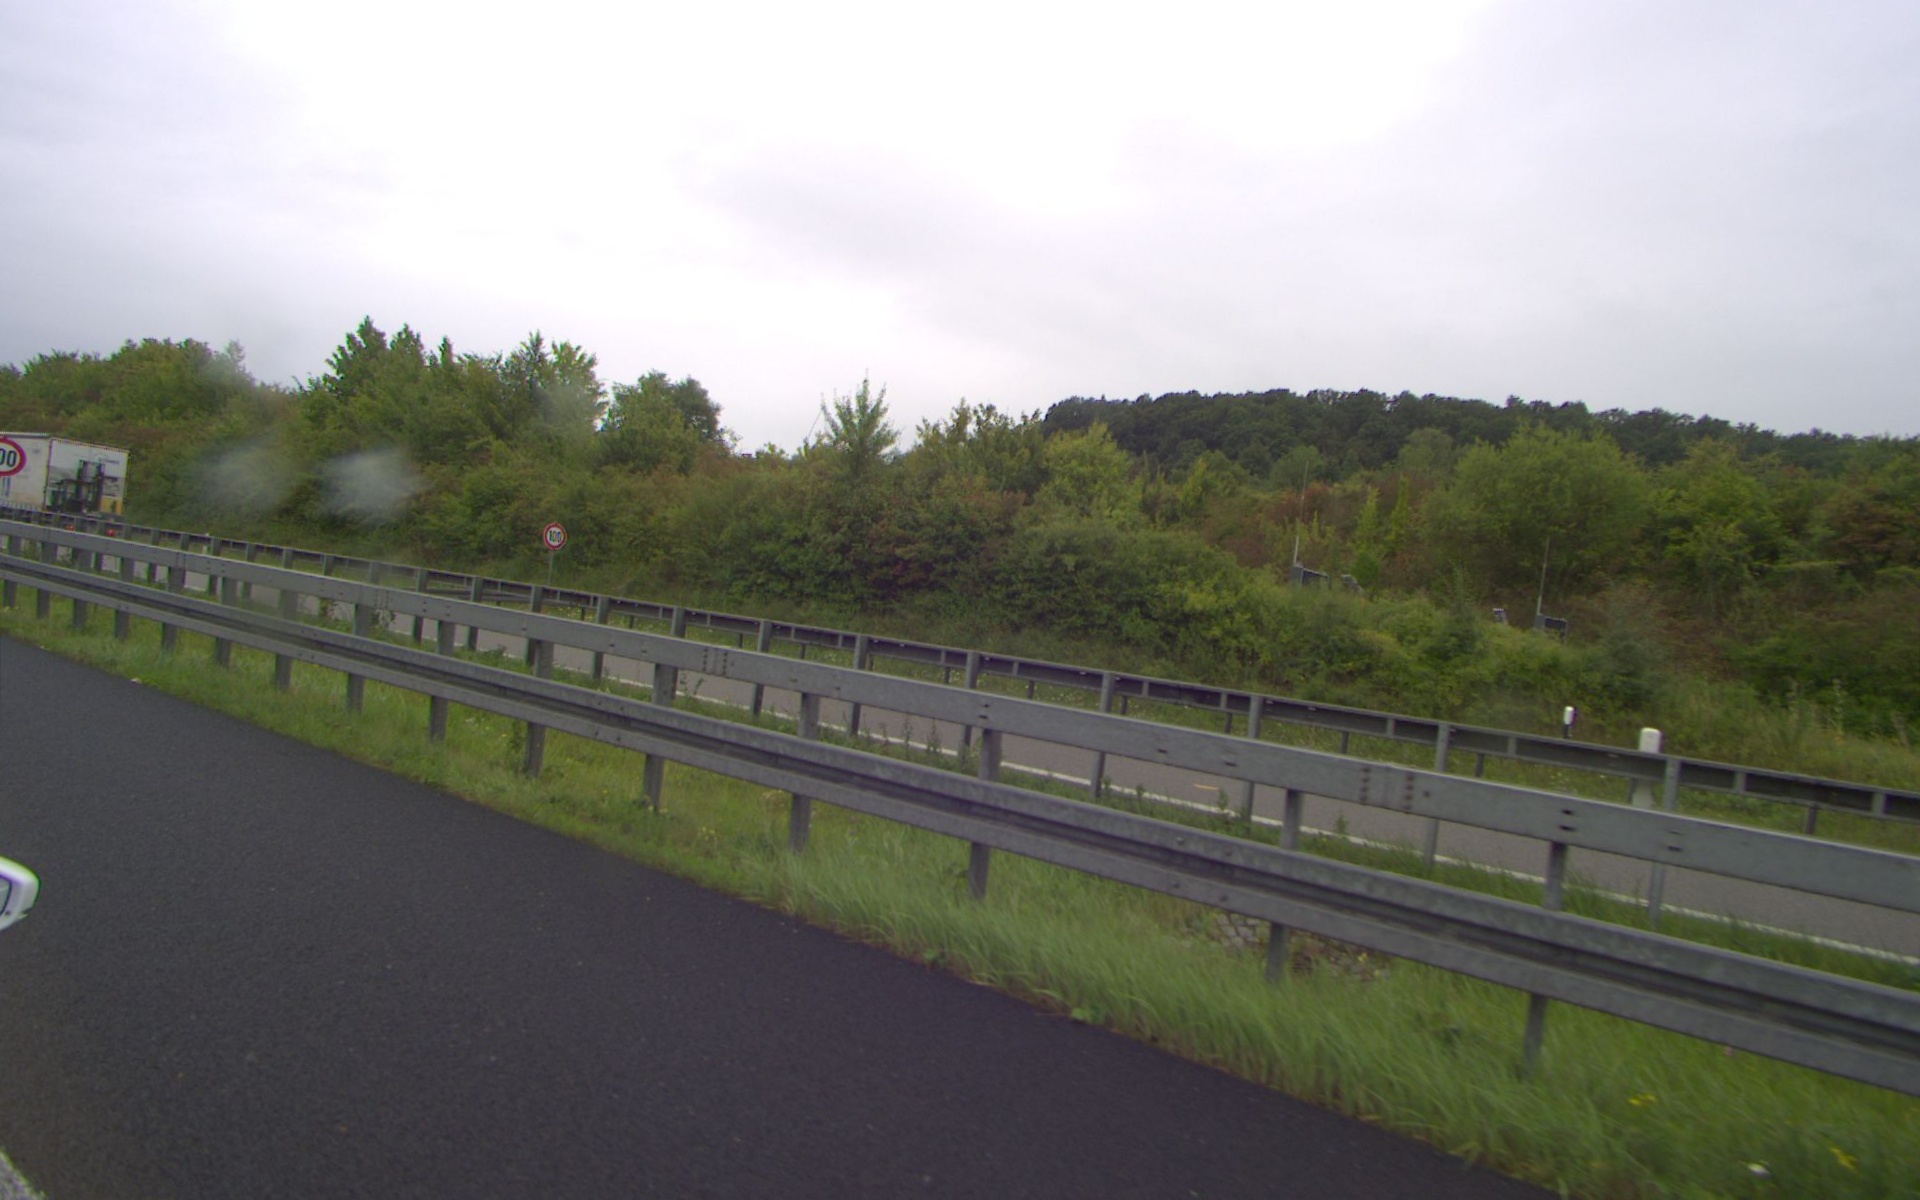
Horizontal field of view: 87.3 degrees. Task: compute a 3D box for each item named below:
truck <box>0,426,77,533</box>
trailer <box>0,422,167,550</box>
[{"bbox_3d":[-46.053,-5.910,47.601,10.248,4.341,3.441,7,-1,33],"label":"truck"},{"bbox_3d":[-37.510,-4.862,42.004,10.283,4.341,3.441,7,-1,33],"label":"trailer"}]
